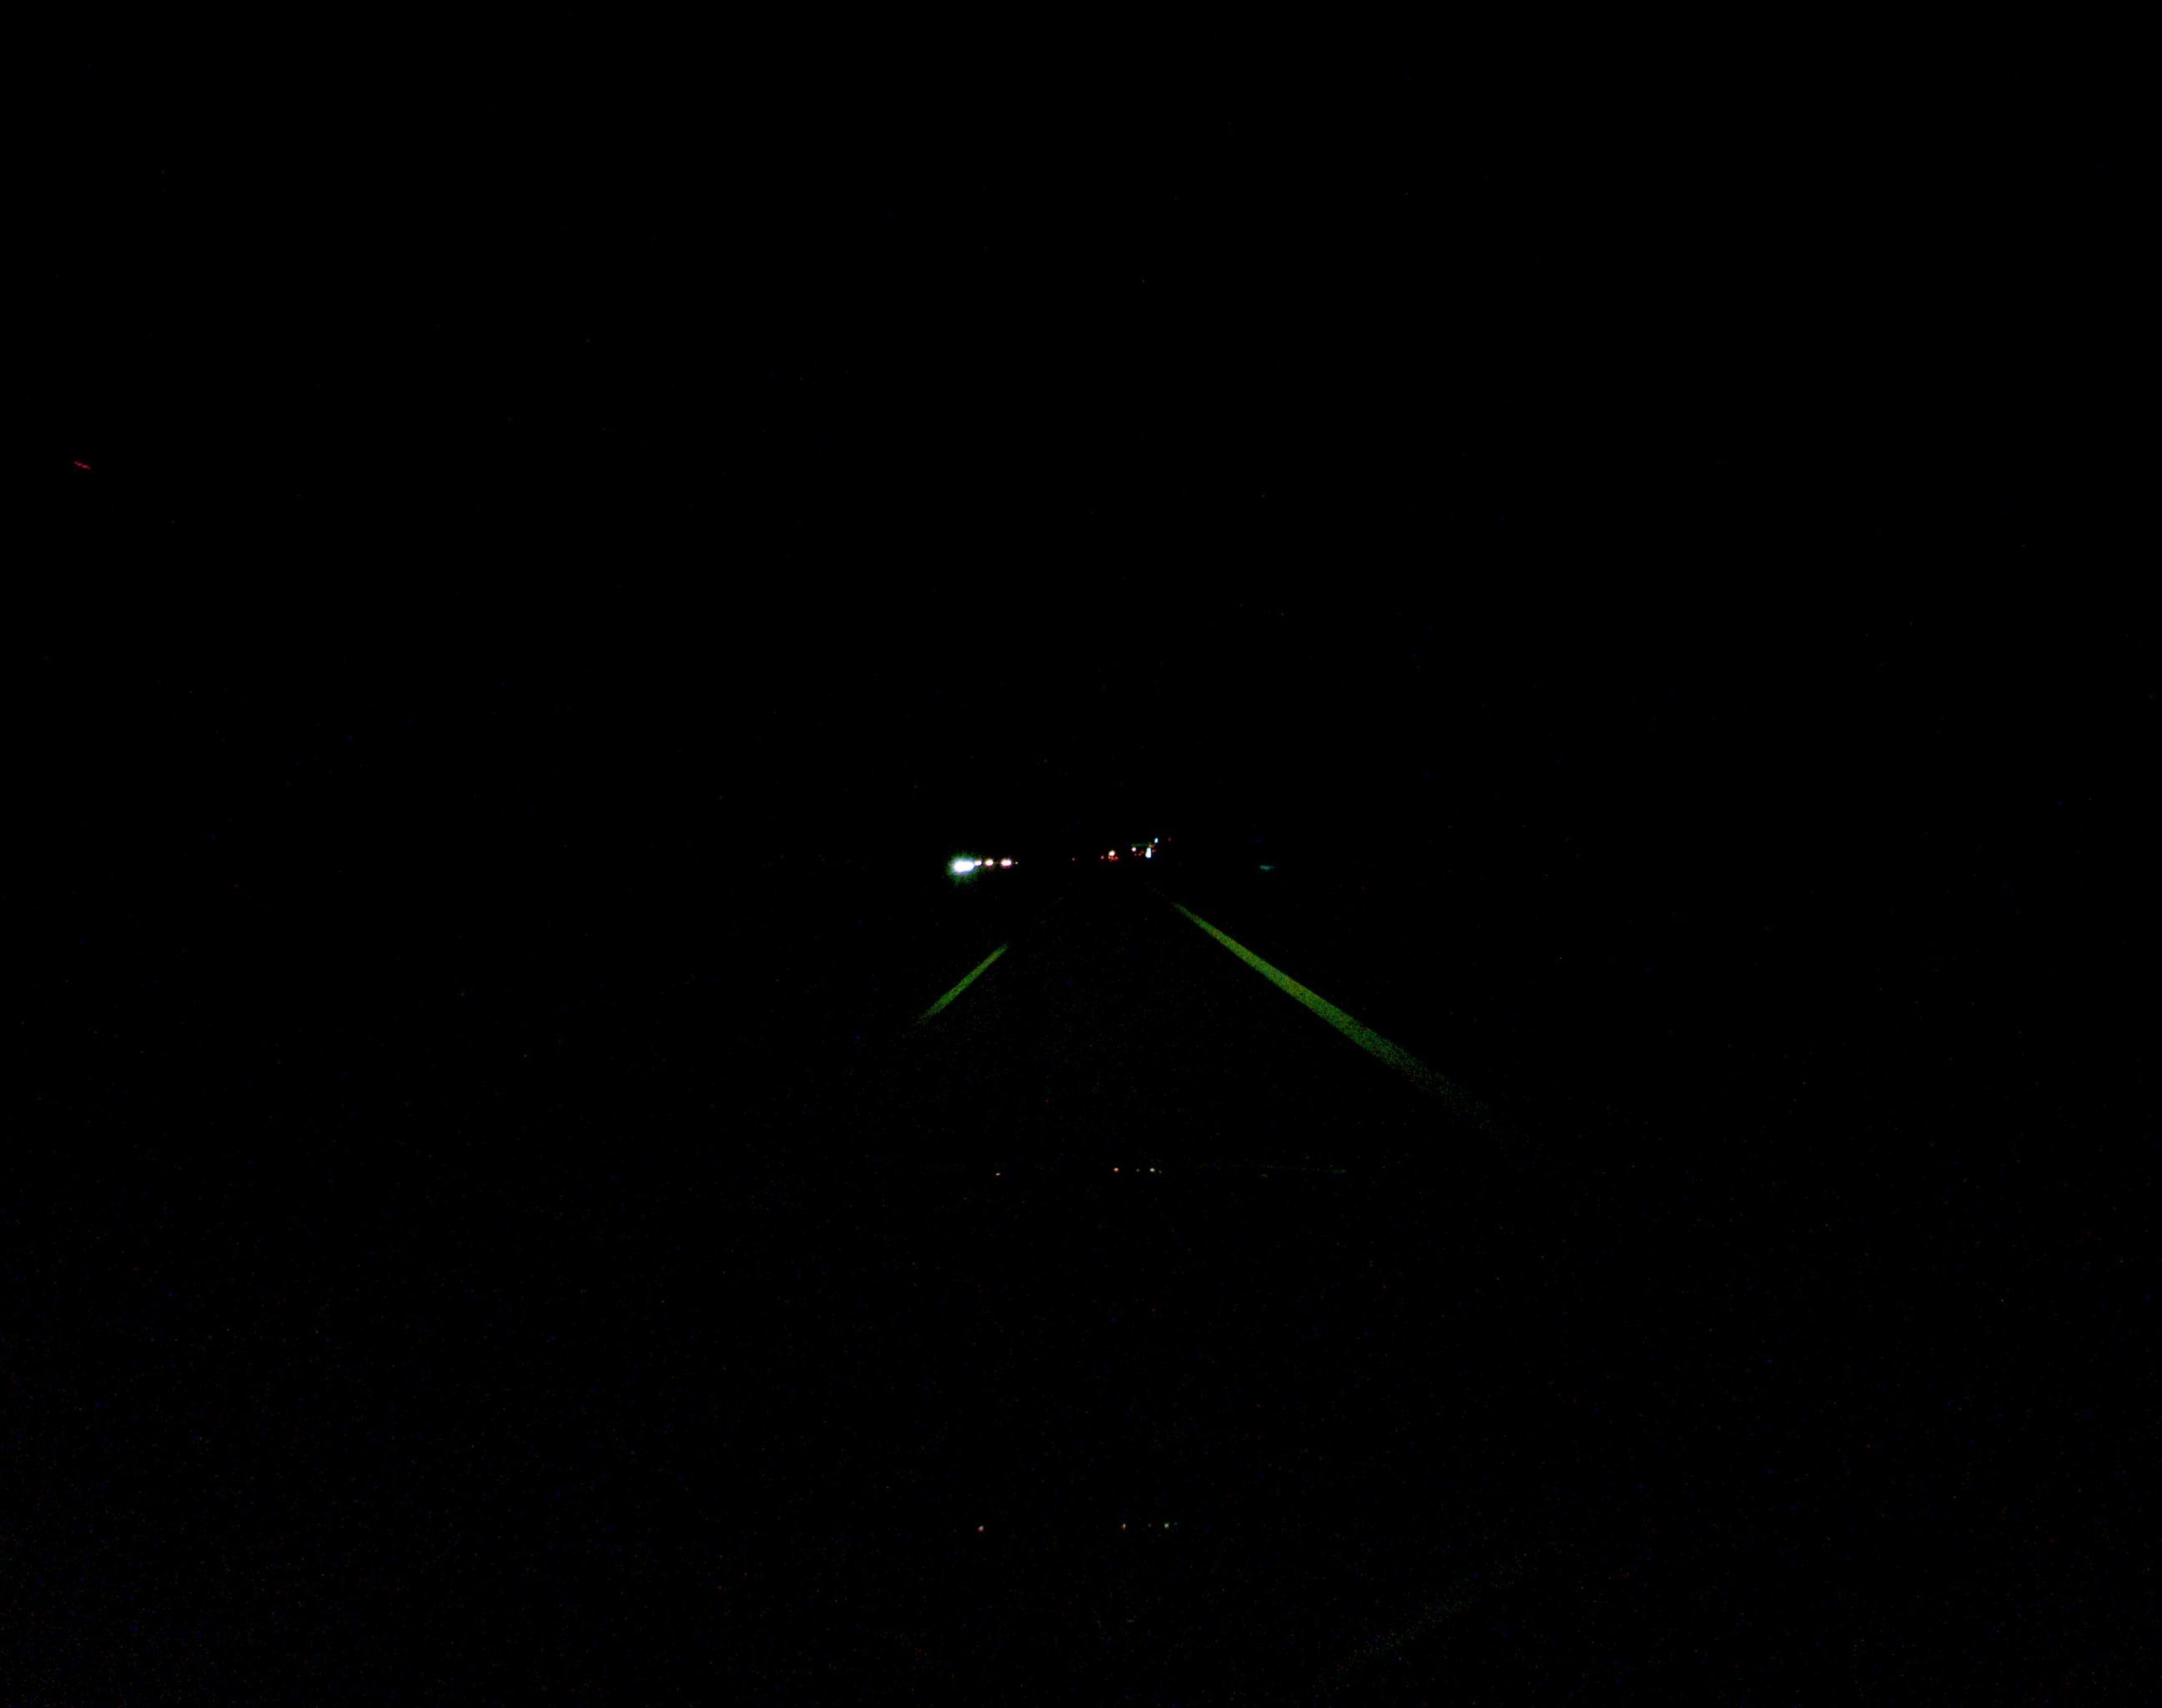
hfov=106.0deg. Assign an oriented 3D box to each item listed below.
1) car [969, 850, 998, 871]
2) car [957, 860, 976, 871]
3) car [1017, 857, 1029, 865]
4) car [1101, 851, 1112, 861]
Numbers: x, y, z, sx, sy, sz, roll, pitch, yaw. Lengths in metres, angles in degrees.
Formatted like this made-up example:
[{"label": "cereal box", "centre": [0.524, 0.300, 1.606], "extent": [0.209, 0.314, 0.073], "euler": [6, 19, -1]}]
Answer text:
[{"label": "car", "centre": [-14.078, 0.915, 118.447], "extent": [2.942, 2.857, 7.720], "euler": [-1, 0, 2]}, {"label": "car", "centre": [-17.575, 1.685, 125.379], "extent": [2.044, 1.598, 5.077], "euler": [-1, 0, 1]}, {"label": "car", "centre": [-11.553, 1.419, 161.499], "extent": [1.854, 1.498, 4.708], "euler": [-1, 0, 2]}, {"label": "car", "centre": [6.302, 0.547, 198.851], "extent": [2.500, 2.314, 4.975], "euler": [-1, 0, 3]}]
